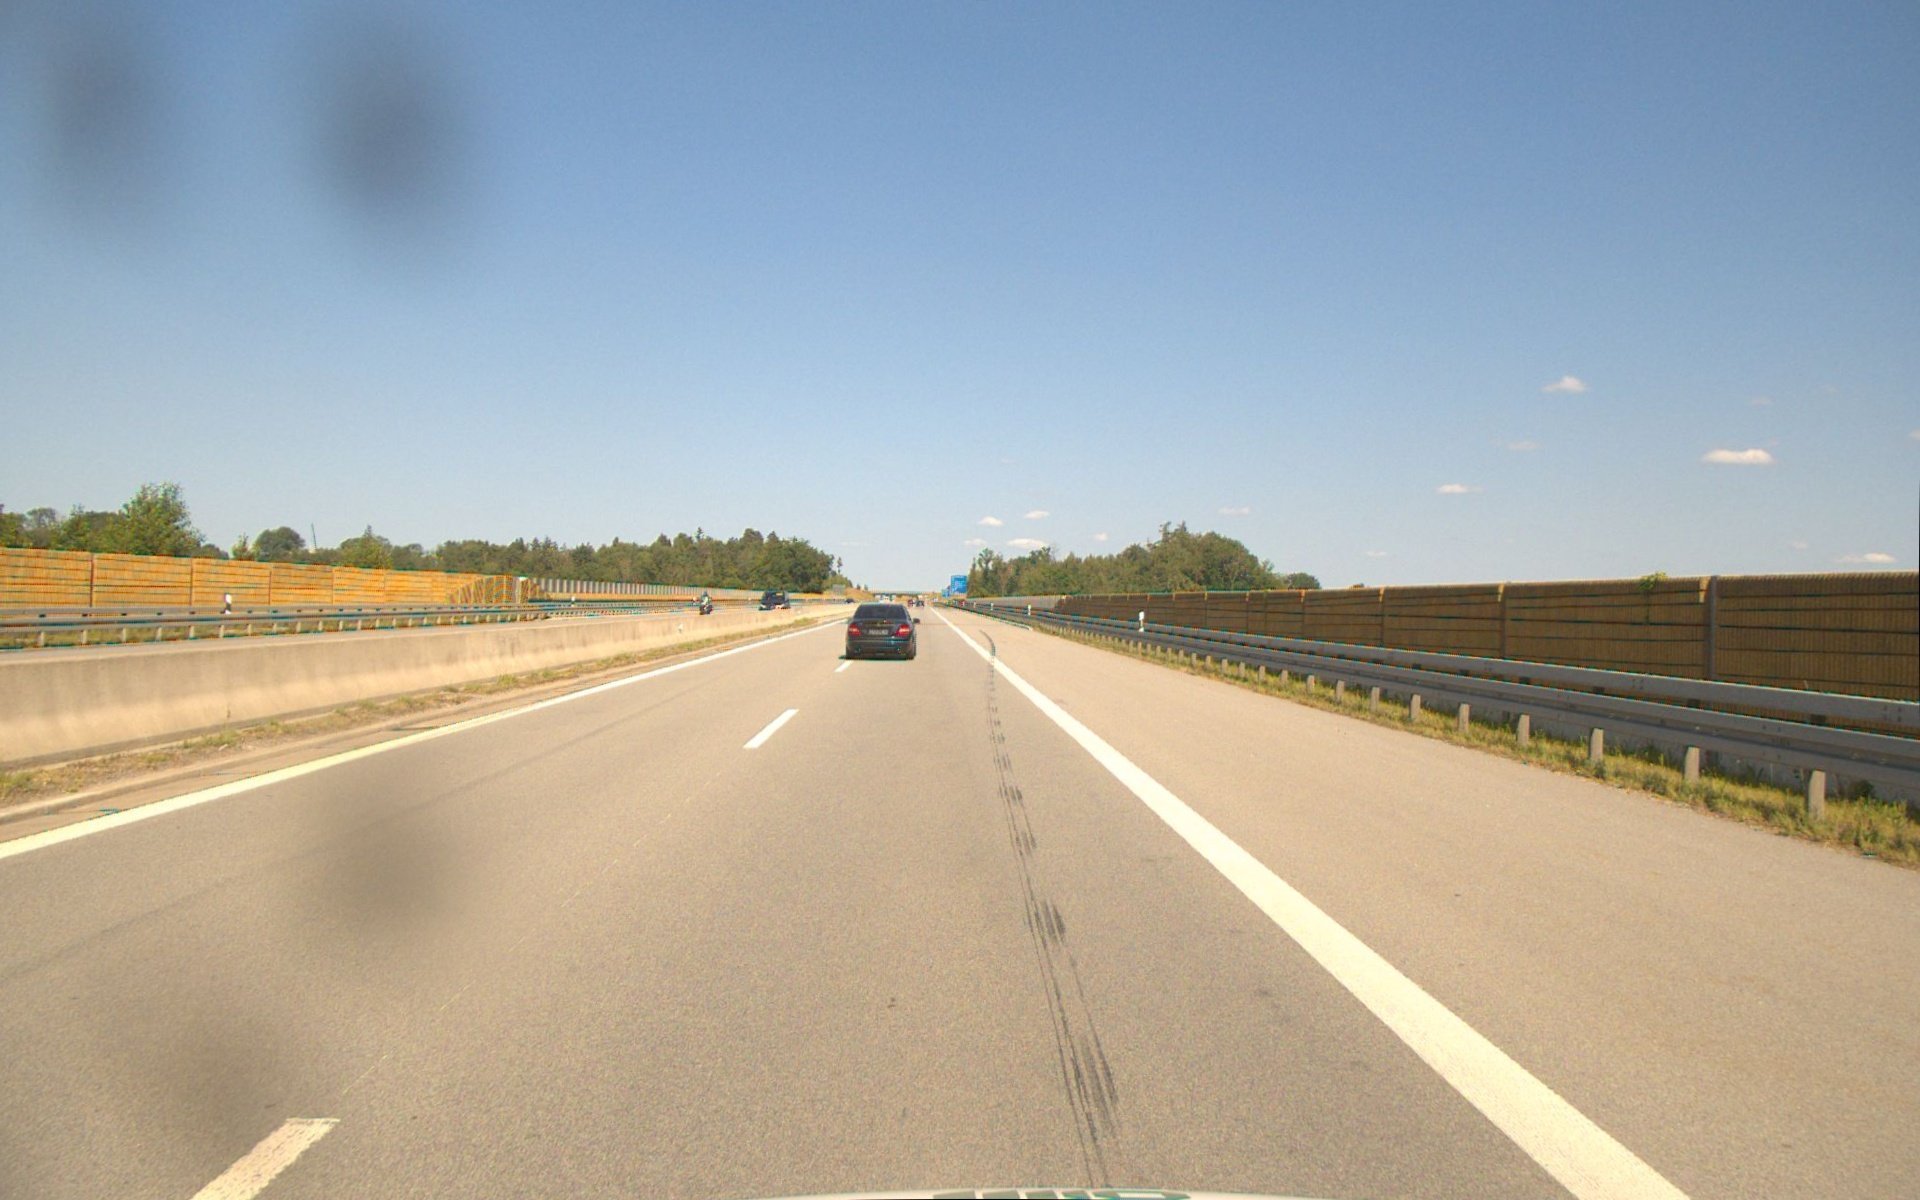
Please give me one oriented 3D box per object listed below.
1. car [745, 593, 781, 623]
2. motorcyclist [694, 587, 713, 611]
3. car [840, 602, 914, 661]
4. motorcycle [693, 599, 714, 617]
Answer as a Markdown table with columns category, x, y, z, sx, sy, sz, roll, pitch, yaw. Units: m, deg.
| category | x | y | z | sx | sy | sz | roll | pitch | yaw |
| --- | --- | --- | --- | --- | --- | --- | --- | --- | --- |
| car | -13.884 | 0.575 | 116.854 | 1.953 | 2.049 | 5.735 | 1 | 0 | -1 |
| motorcyclist | -16.952 | -0.070 | 109.277 | 0.992 | 1.591 | 1.428 | 1 | -1 | -1 |
| car | -2.080 | 0.780 | 42.444 | 1.754 | 1.398 | 3.916 | 1 | 0 | -1 |
| motorcycle | -16.963 | 0.515 | 109.286 | 0.992 | 1.187 | 2.867 | 1 | 0 | -1 |
